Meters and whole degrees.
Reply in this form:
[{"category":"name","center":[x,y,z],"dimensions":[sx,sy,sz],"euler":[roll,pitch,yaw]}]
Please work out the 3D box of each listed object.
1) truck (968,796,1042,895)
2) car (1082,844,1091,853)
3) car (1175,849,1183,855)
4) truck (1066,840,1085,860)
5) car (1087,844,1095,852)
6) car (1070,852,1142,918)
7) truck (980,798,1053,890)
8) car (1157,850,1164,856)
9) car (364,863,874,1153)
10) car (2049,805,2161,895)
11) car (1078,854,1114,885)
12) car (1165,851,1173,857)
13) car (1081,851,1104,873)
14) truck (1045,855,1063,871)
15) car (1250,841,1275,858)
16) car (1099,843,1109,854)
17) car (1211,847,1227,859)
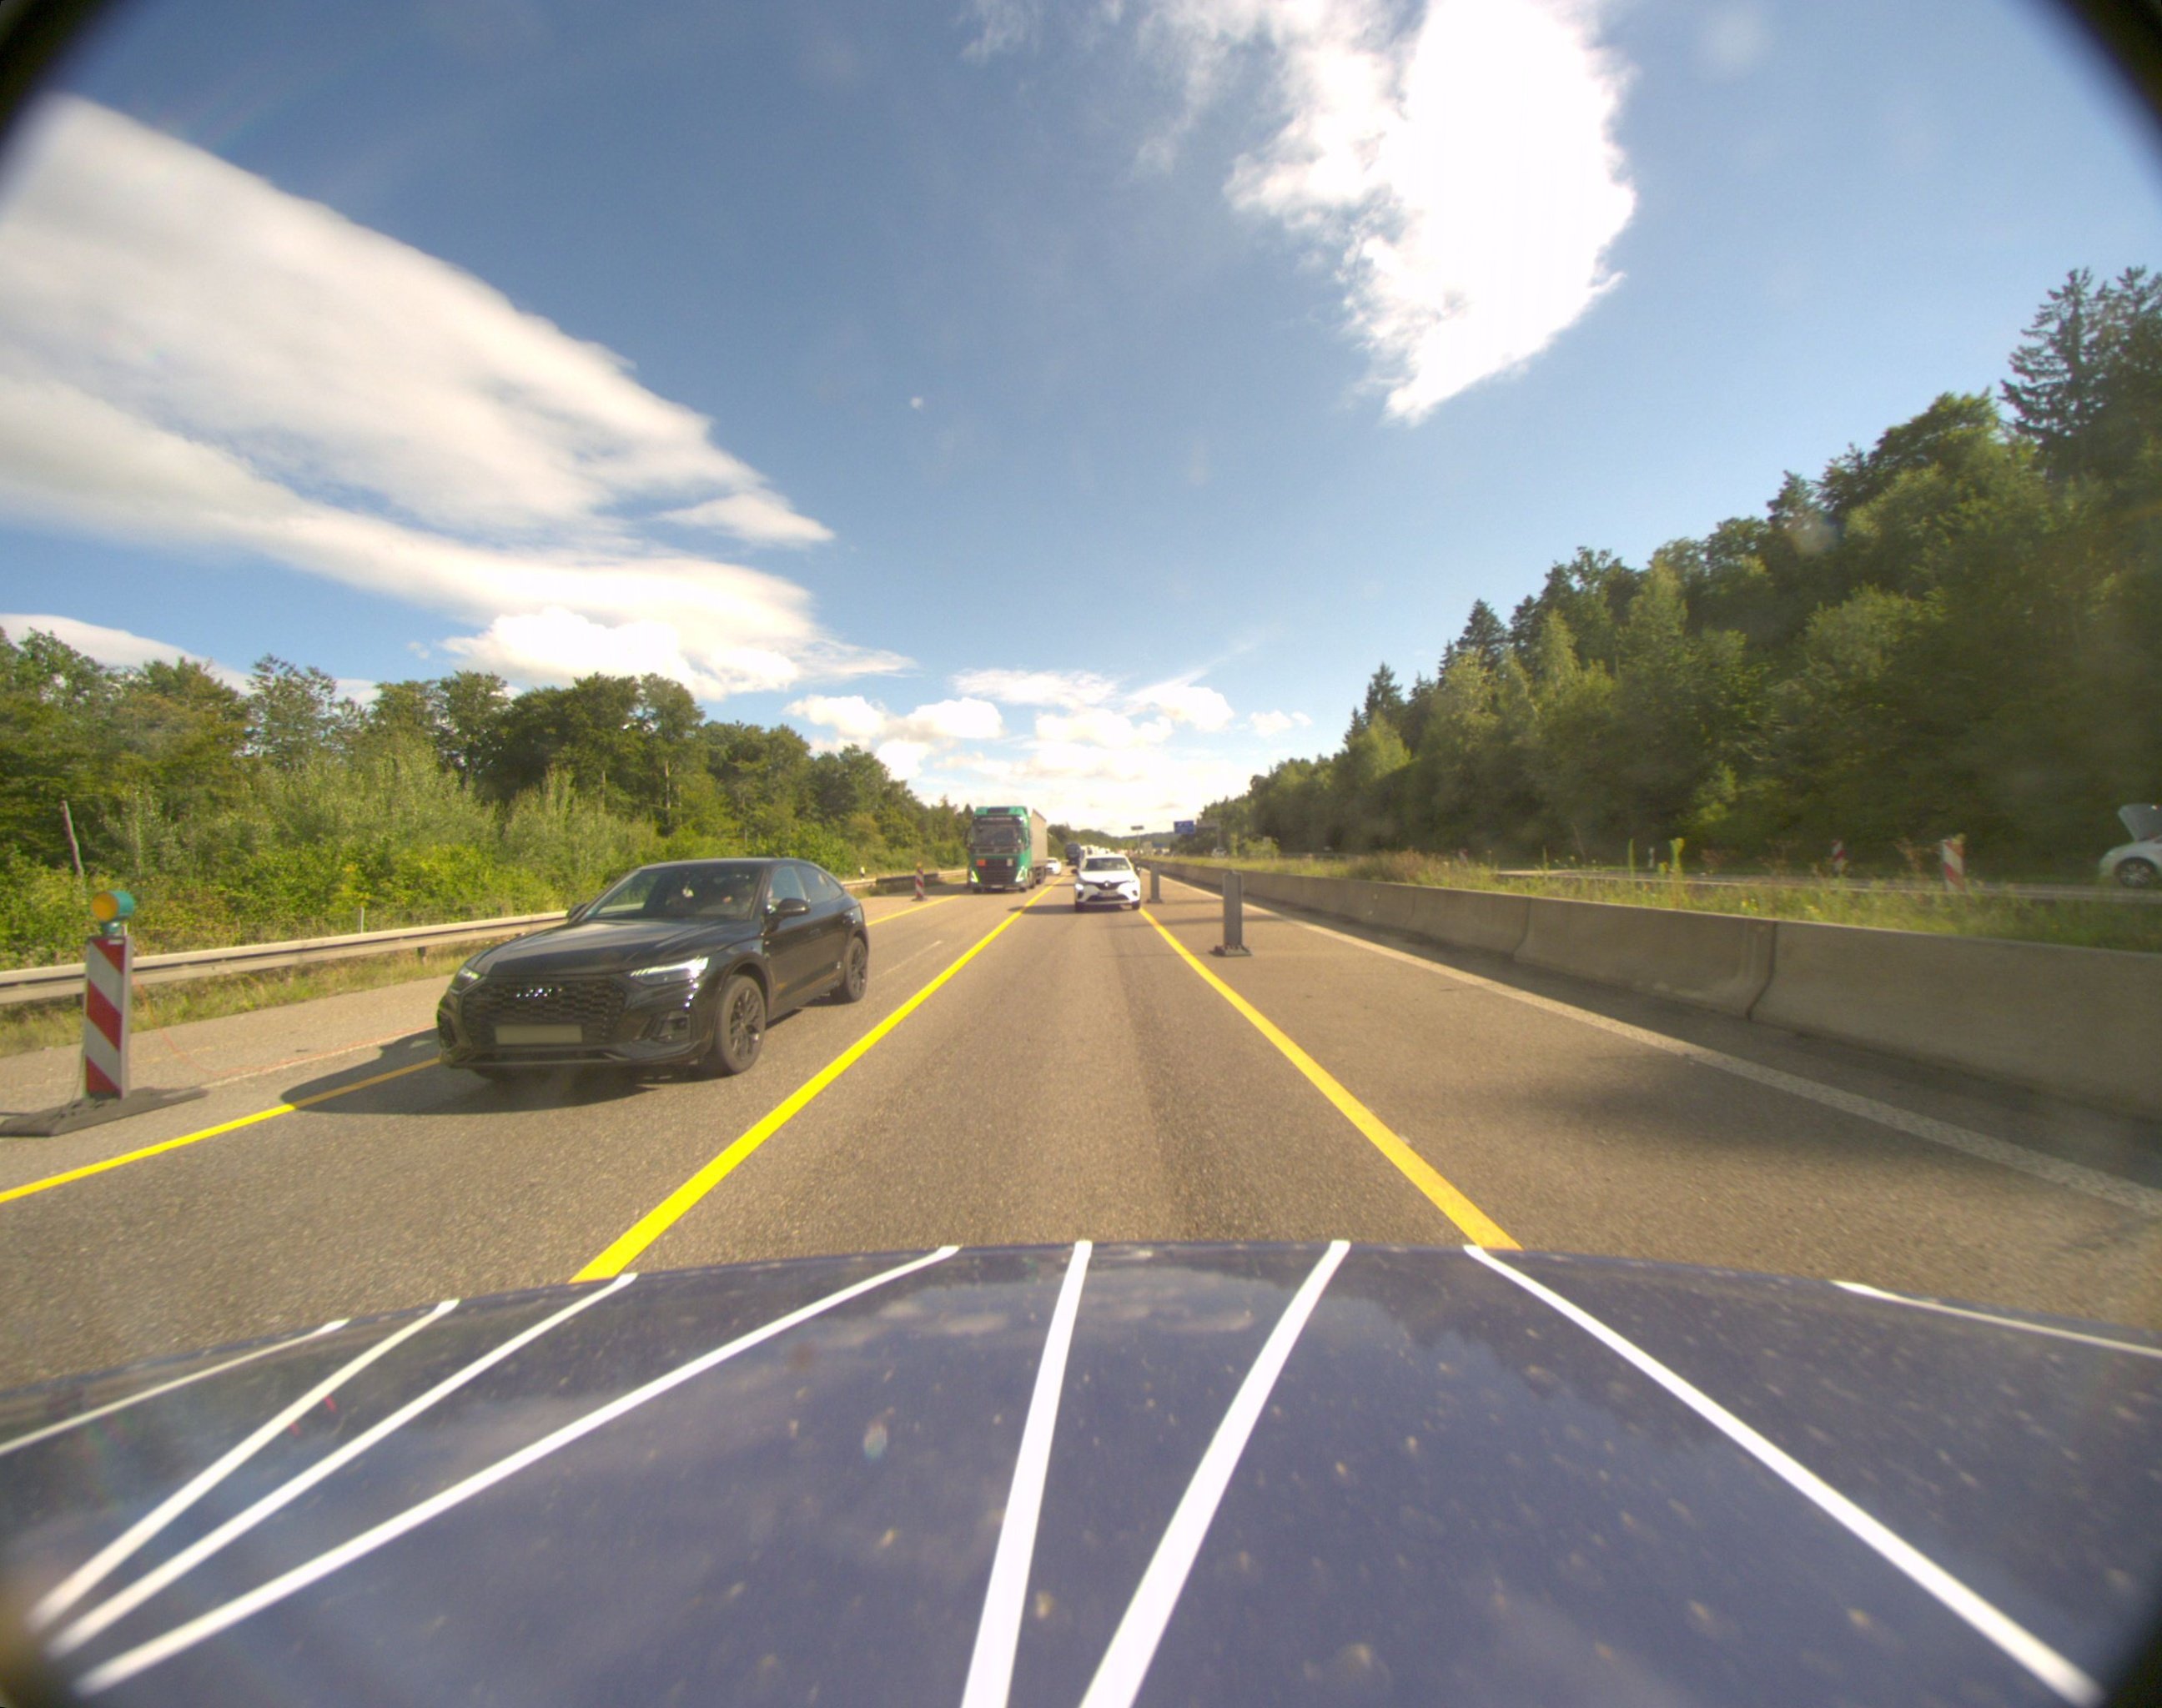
[{"category":"truck","center":[-3.383,-0.402,35.563],"dimensions":[2.528,4.076,6.856],"euler":[-2,1,1]},{"category":"car","center":[1.158,-1.235,160.525],"dimensions":[1.750,1.787,3.999],"euler":[-2,1,1]},{"category":"car","center":[27.925,-0.621,216.896],"dimensions":[1.782,1.679,4.617],"euler":[-2,1,1]},{"category":"truck","center":[-0.860,-0.694,128.542],"dimensions":[2.576,3.167,6.803],"euler":[-2,1,3]},{"category":"car","center":[2.438,-1.389,183.568],"dimensions":[1.750,1.787,3.999],"euler":[-2,1,1]},{"category":"car","center":[0.668,0.780,21.262],"dimensions":[1.782,1.593,4.017],"euler":[-2,1,1]},{"category":"truck","center":[-3.241,-0.437,42.087],"dimensions":[2.470,4.119,14.211],"euler":[-2,0,1]},{"category":"car","center":[26.961,-0.309,257.983],"dimensions":[1.782,1.891,4.617],"euler":[-2,1,1]},{"category":"car","center":[-3.378,0.966,6.747],"dimensions":[1.782,1.593,4.293],"euler":[-2,1,1]},{"category":"car","center":[22.955,-0.110,14.910],"dimensions":[1.865,1.843,4.761],"euler":[-2,1,1]},{"category":"car","center":[0.803,0.802,41.176],"dimensions":[1.782,1.468,4.017],"euler":[-2,1,1]},{"category":"car","center":[21.966,0.076,189.733],"dimensions":[1.782,1.448,4.104],"euler":[-2,1,1]},{"category":"car","center":[0.918,0.628,61.241],"dimensions":[1.782,1.593,4.017],"euler":[-2,1,1]},{"category":"truck","center":[-2.290,0.747,64.952],"dimensions":[1.468,1.215,3.087],"euler":[-2,1,-2]},{"category":"car","center":[20.465,-0.481,85.794],"dimensions":[1.782,1.775,4.364],"euler":[-2,1,1]},{"category":"car","center":[4.545,-1.082,151.281],"dimensions":[1.998,2.002,4.000],"euler":[-2,1,1]},{"category":"car","center":[21.680,-0.191,119.532],"dimensions":[1.782,1.775,4.364],"euler":[-2,1,1]}]
